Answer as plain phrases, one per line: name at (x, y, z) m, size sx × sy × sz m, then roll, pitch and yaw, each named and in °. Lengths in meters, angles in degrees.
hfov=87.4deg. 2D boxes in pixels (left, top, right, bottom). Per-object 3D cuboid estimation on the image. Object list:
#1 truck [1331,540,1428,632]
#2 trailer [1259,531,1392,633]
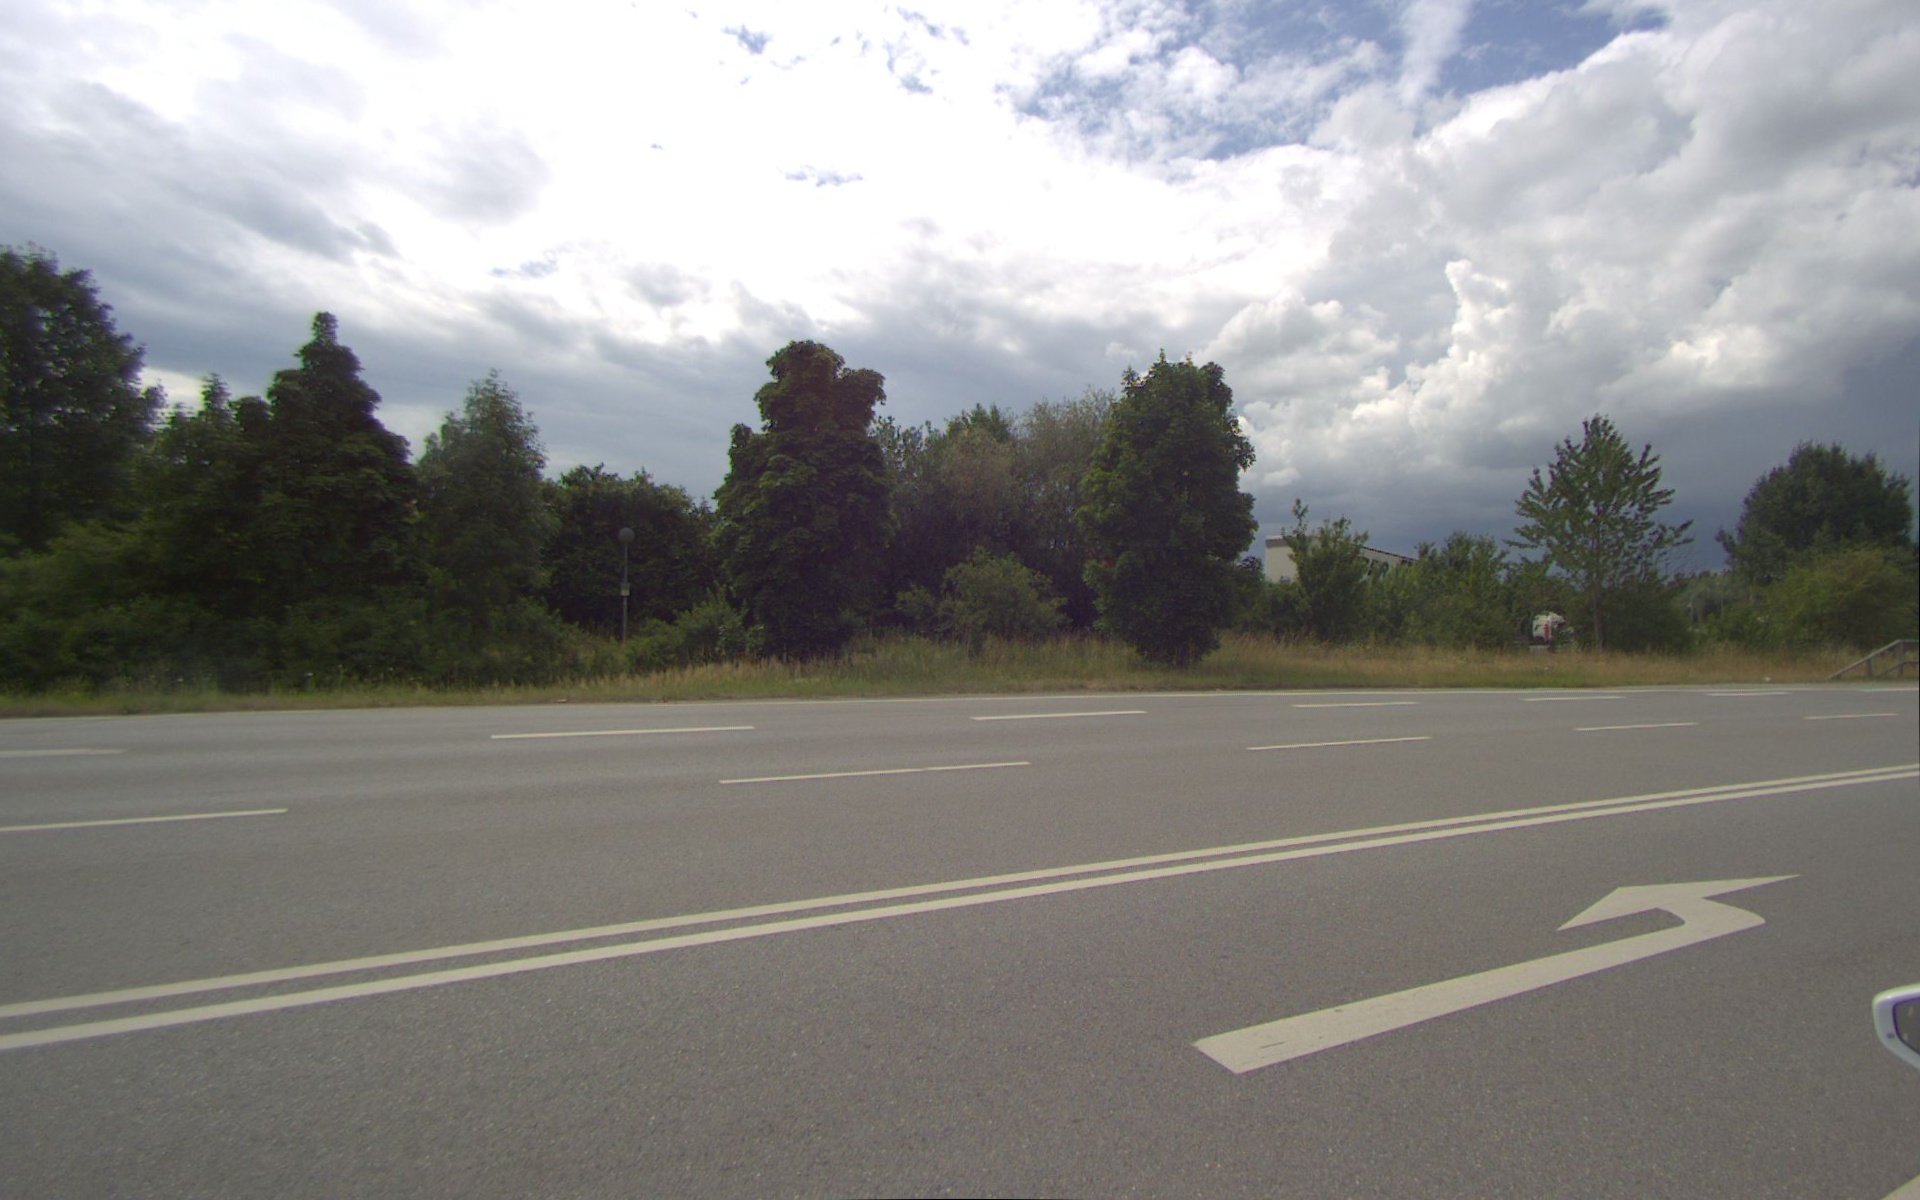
truck at (24.425, -0.719, 58.349) m, size 6.143 × 5.063 × 2.770 m, roll 1°, pitch 0°, yaw -42°
trailer at (19.885, -0.847, 54.283) m, size 8.916 × 5.063 × 2.773 m, roll 1°, pitch 0°, yaw -42°
